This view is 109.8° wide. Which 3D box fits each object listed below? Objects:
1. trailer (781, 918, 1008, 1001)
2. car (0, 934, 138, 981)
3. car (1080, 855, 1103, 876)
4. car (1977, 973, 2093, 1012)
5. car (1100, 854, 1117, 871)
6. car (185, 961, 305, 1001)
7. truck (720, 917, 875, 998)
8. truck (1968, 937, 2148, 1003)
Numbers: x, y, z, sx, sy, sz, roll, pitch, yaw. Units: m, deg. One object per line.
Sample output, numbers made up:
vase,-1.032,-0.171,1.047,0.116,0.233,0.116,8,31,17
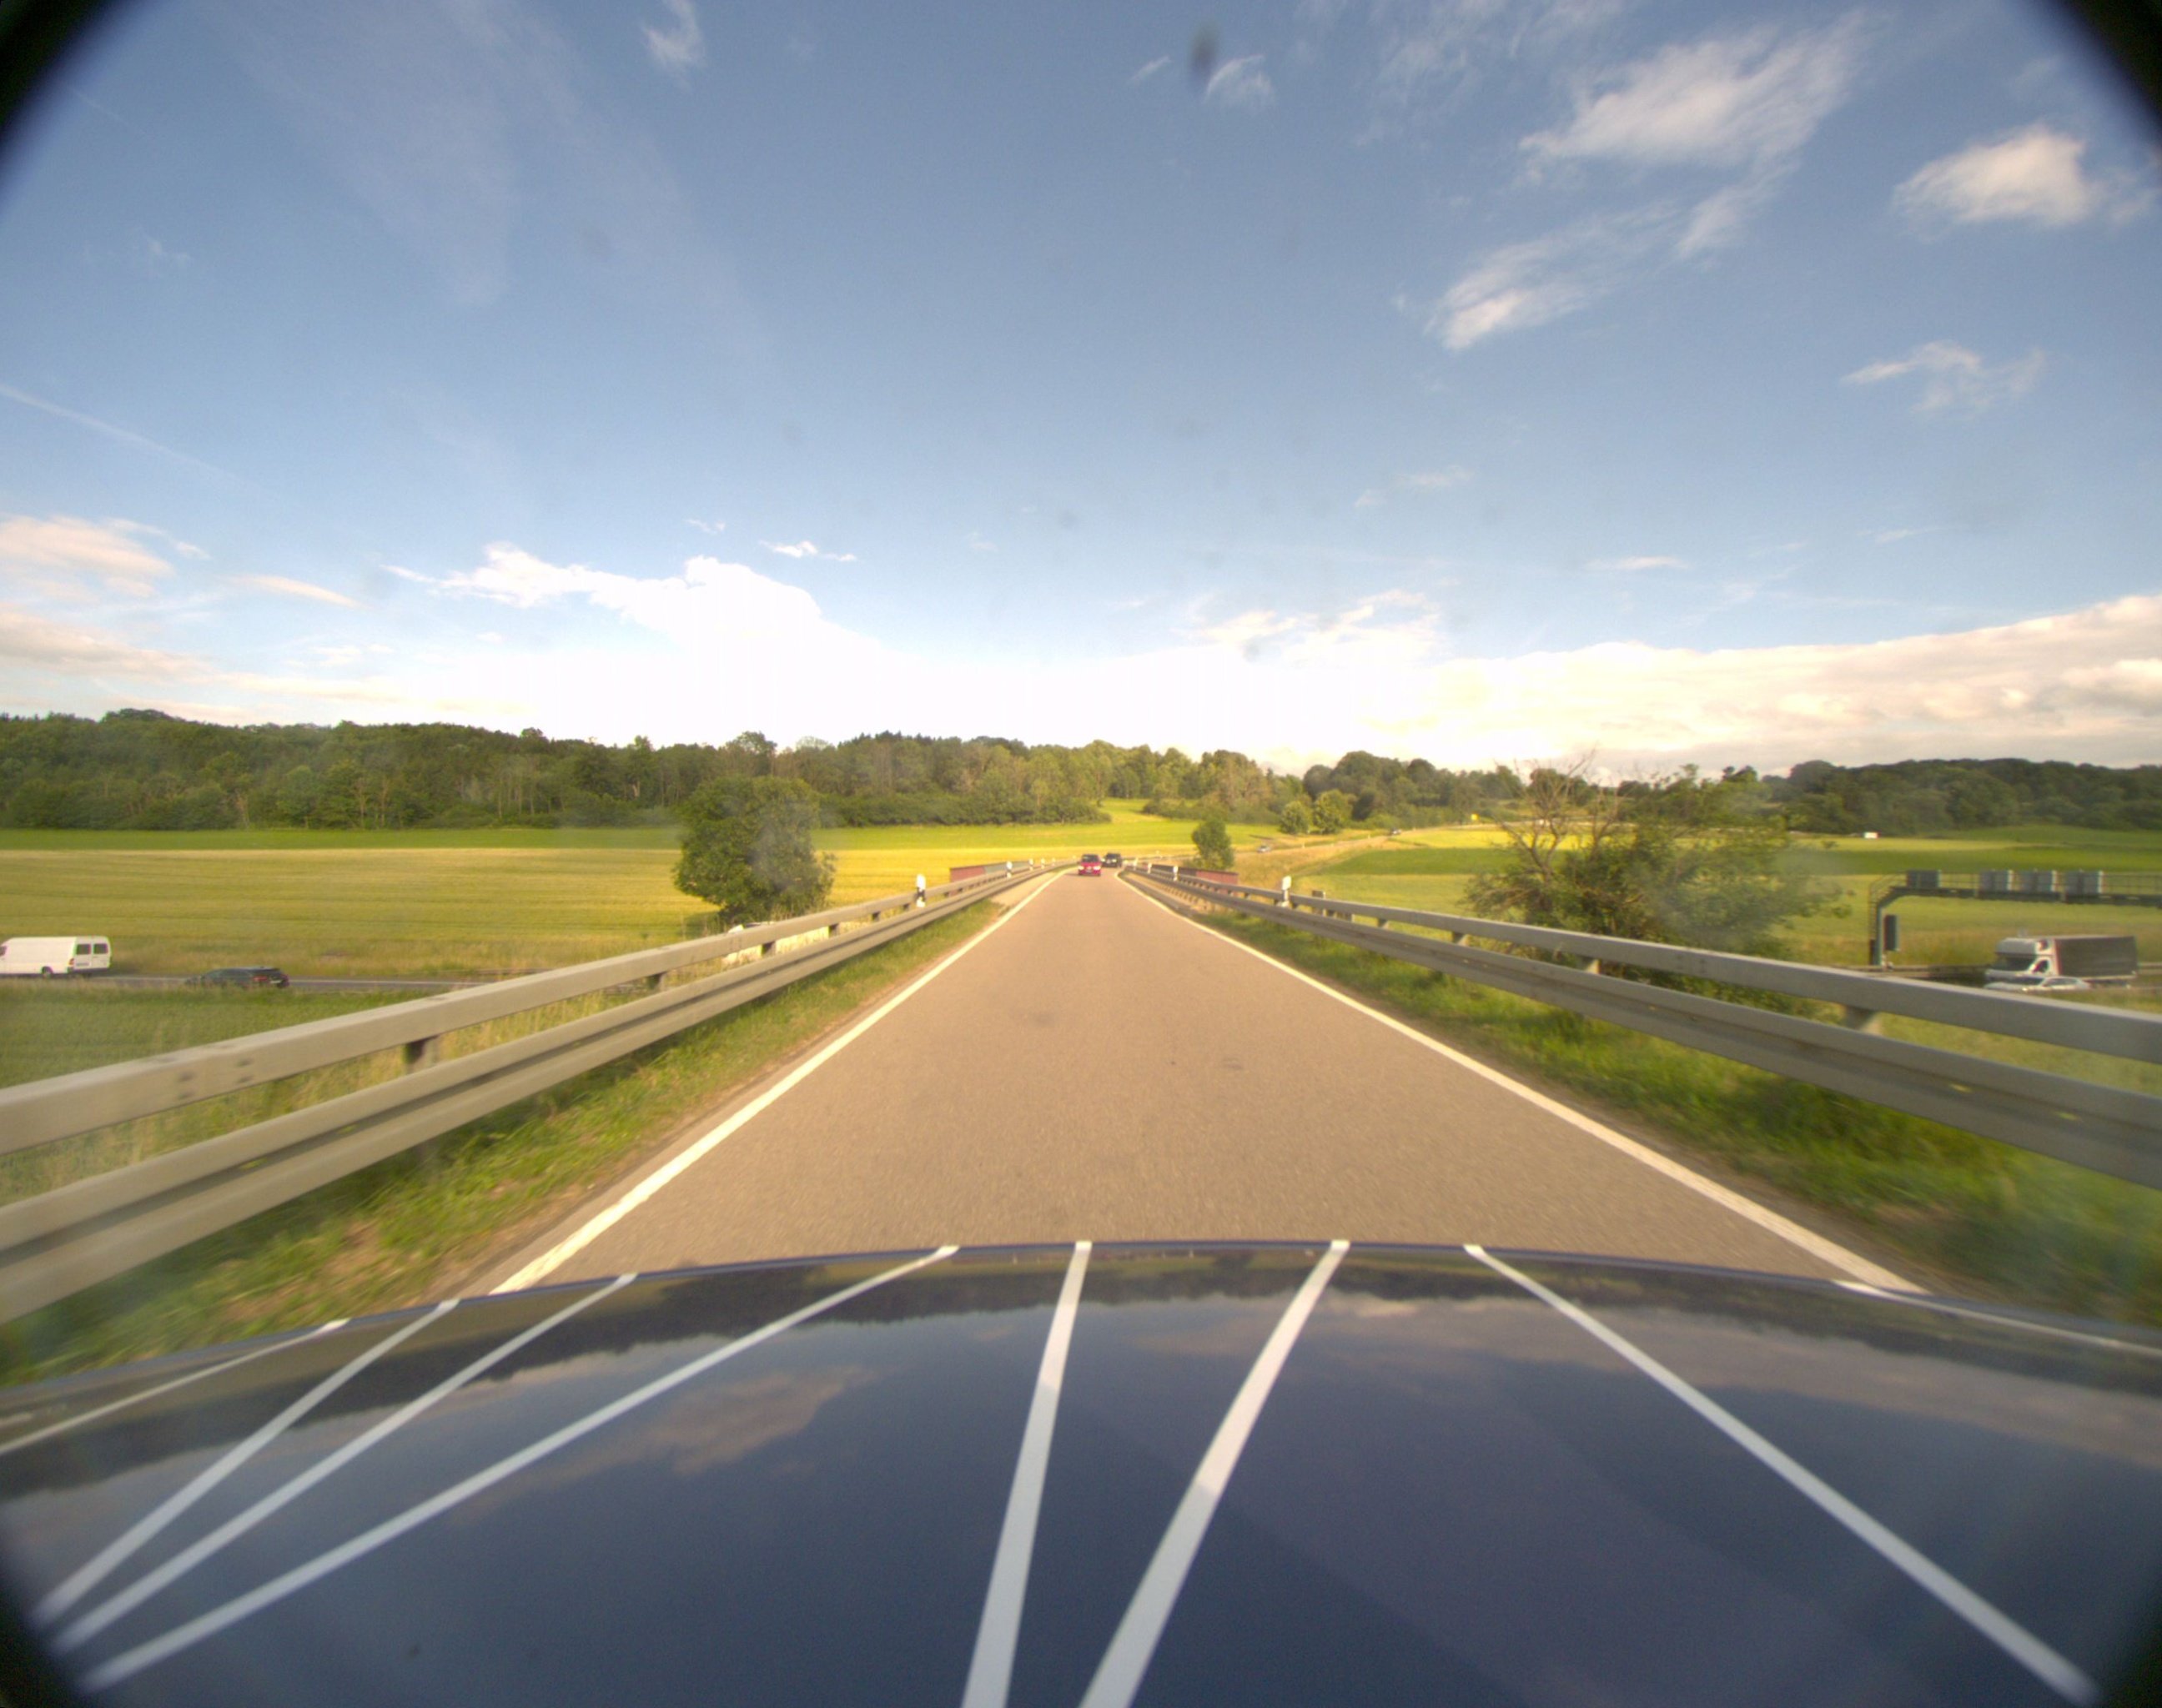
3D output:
trailer,-10.927,6.209,45.389,12.715,4.440,3.034,0,-2,2
car,-62.891,6.361,47.022,6.117,2.568,2.376,1,-4,3
car,0.824,0.909,62.340,1.821,1.645,4.000,0,0,0
car,50.390,7.309,40.179,3.998,1.640,1.827,2,1,-4
car,3.125,0.970,86.476,1.821,1.602,3.998,1,3,0
car,-43.990,6.675,40.035,4.370,1.692,1.777,1,2,1
truck,-16.886,6.137,45.648,8.048,4.440,3.032,0,-2,2
truck,58.737,6.928,45.781,8.491,3.386,2.123,-2,1,-2
